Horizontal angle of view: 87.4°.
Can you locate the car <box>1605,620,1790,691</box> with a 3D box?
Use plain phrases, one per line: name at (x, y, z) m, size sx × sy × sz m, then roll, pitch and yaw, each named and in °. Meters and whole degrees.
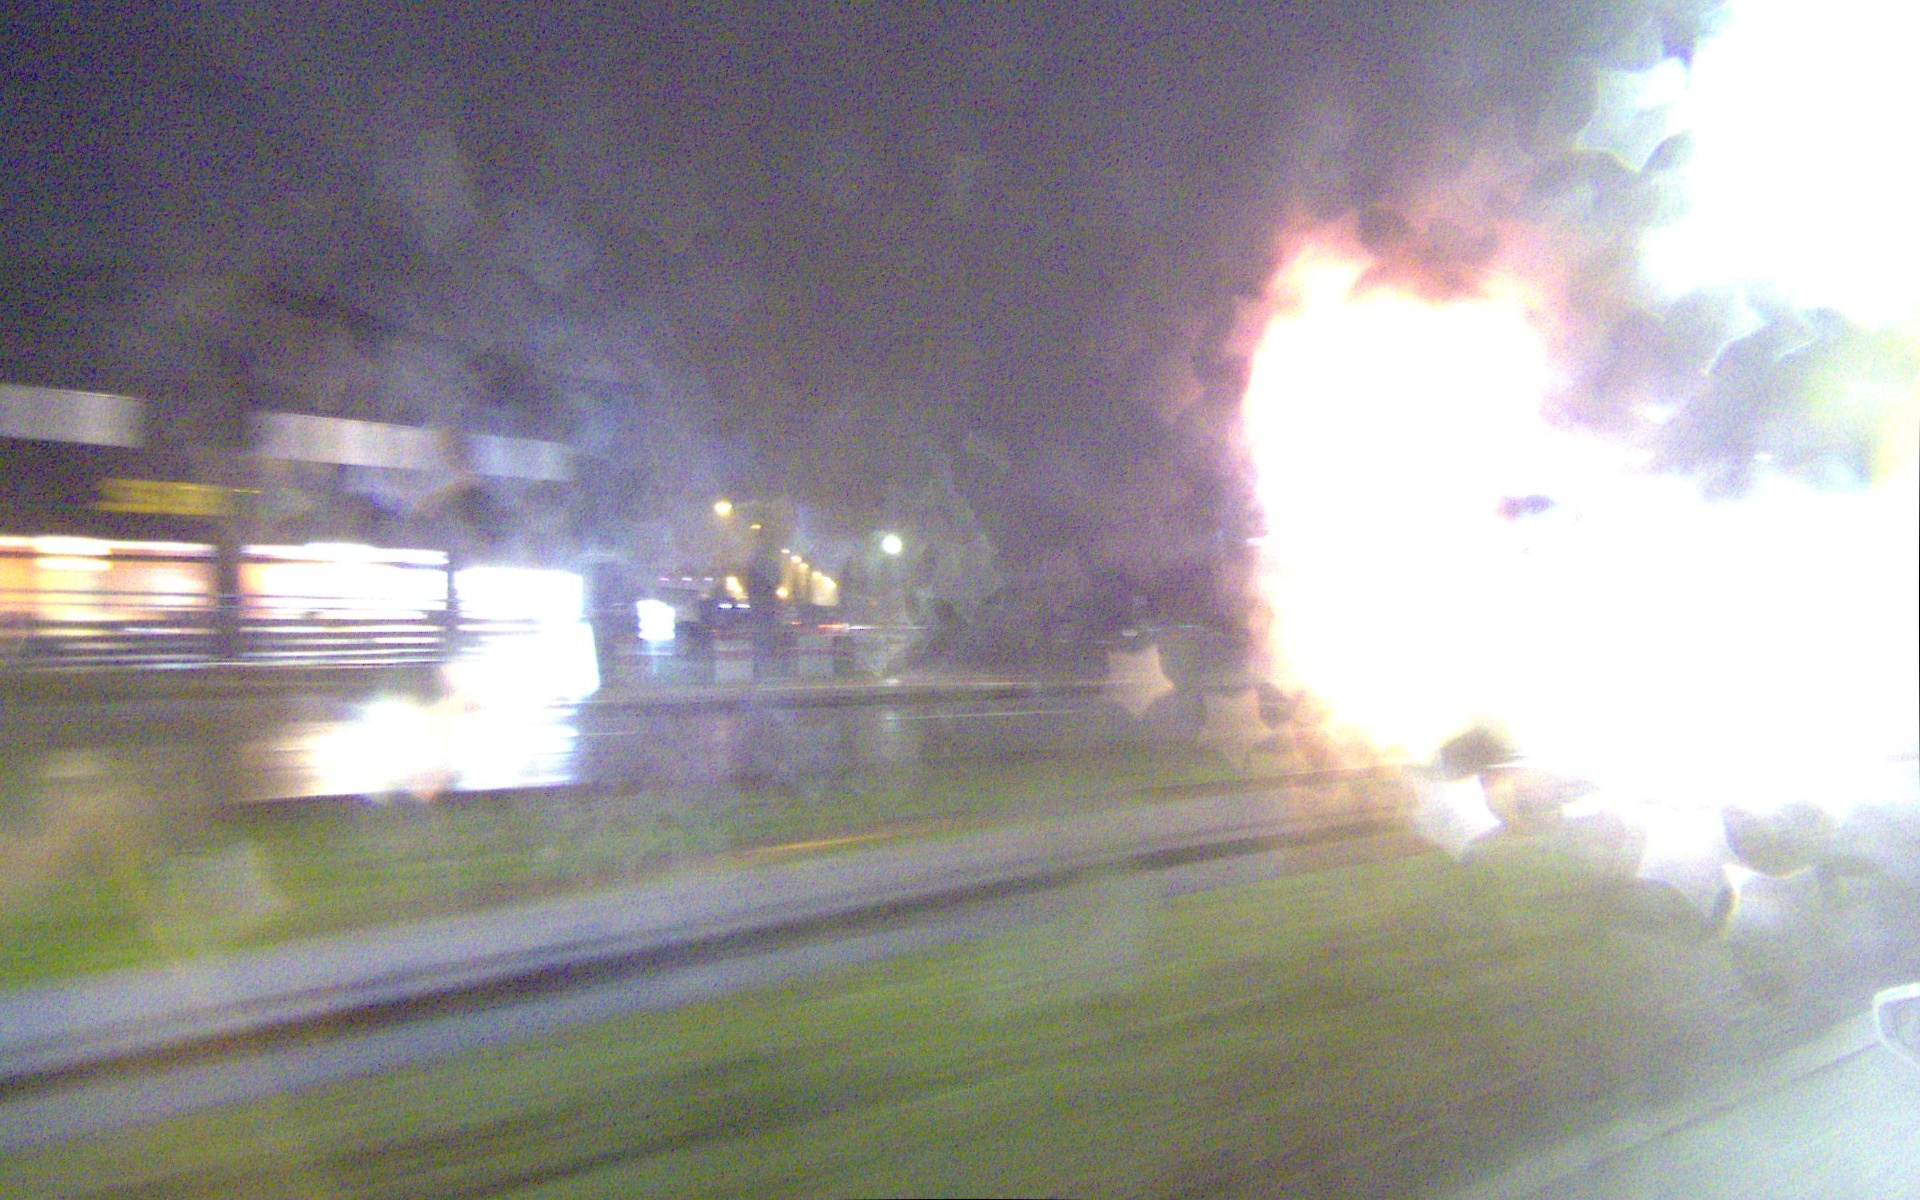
car at (16.393, 1.206, 22.332) m, size 3.896 × 1.446 × 1.563 m, roll 1°, pitch 0°, yaw -23°
